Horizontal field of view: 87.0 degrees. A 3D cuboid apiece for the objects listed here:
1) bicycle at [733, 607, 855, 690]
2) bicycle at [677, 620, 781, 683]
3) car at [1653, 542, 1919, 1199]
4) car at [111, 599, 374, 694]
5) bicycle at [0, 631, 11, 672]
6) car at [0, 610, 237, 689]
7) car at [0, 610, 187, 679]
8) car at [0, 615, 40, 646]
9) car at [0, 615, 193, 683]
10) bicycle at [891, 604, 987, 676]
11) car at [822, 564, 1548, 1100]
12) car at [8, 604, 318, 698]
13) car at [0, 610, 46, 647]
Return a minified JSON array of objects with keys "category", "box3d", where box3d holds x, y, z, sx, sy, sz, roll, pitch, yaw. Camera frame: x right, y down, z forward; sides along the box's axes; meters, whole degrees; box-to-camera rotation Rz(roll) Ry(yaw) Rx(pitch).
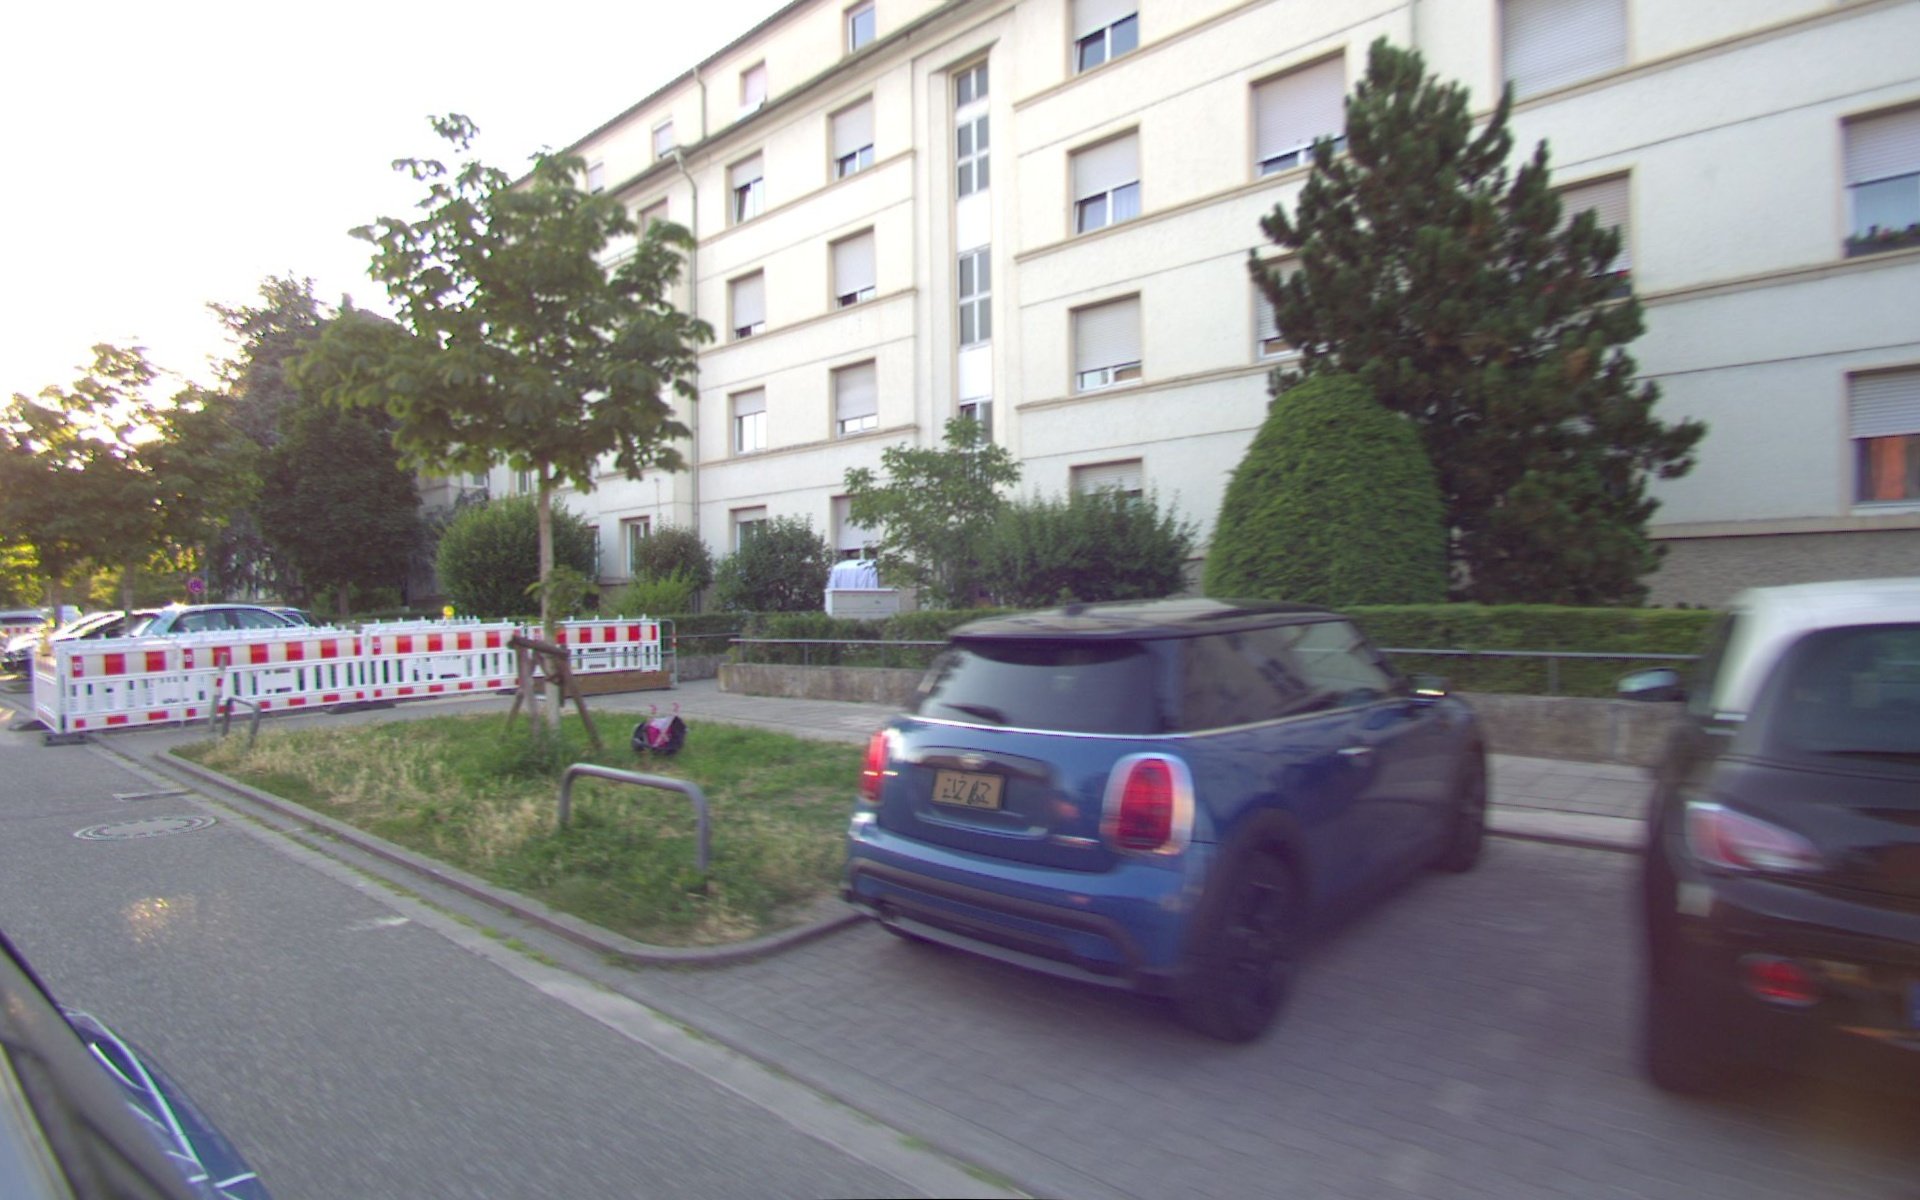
[{"category":"bicycle","box3d":[-2.618,0.735,16.135,0.540,1.195,2.007,-1,0,42]},{"category":"bicycle","box3d":[-4.031,0.878,17.810,0.360,0.999,1.900,-1,0,42]},{"category":"car","box3d":[3.441,0.580,3.424,1.723,1.495,3.647,-1,1,34]},{"category":"car","box3d":[-13.293,0.796,18.911,1.726,1.495,3.663,-1,1,40]},{"category":"bicycle","box3d":[-27.110,1.447,28.474,1.628,1.104,0.442,-1,-1,42]},{"category":"car","box3d":[-18.980,1.052,22.904,1.728,1.495,3.987,-1,1,43]},{"category":"car","box3d":[-22.848,1.117,26.479,1.728,1.553,3.943,-1,1,43]},{"category":"car","box3d":[-53.892,1.726,56.228,4.072,1.696,2.002,0,-1,-44]},{"category":"car","box3d":[-21.169,1.133,24.591,1.606,1.395,3.801,-1,1,42]},{"category":"bicycle","box3d":[-0.359,0.703,18.557,0.490,1.195,2.007,-1,0,42]},{"category":"car","box3d":[1.322,0.589,4.684,1.728,1.456,3.638,0,1,42]},{"category":"car","box3d":[-15.451,0.915,19.893,1.723,1.495,4.472,-2,1,33]},{"category":"car","box3d":[-55.750,1.678,58.157,4.719,2.085,2.002,0,-1,-44]}]
